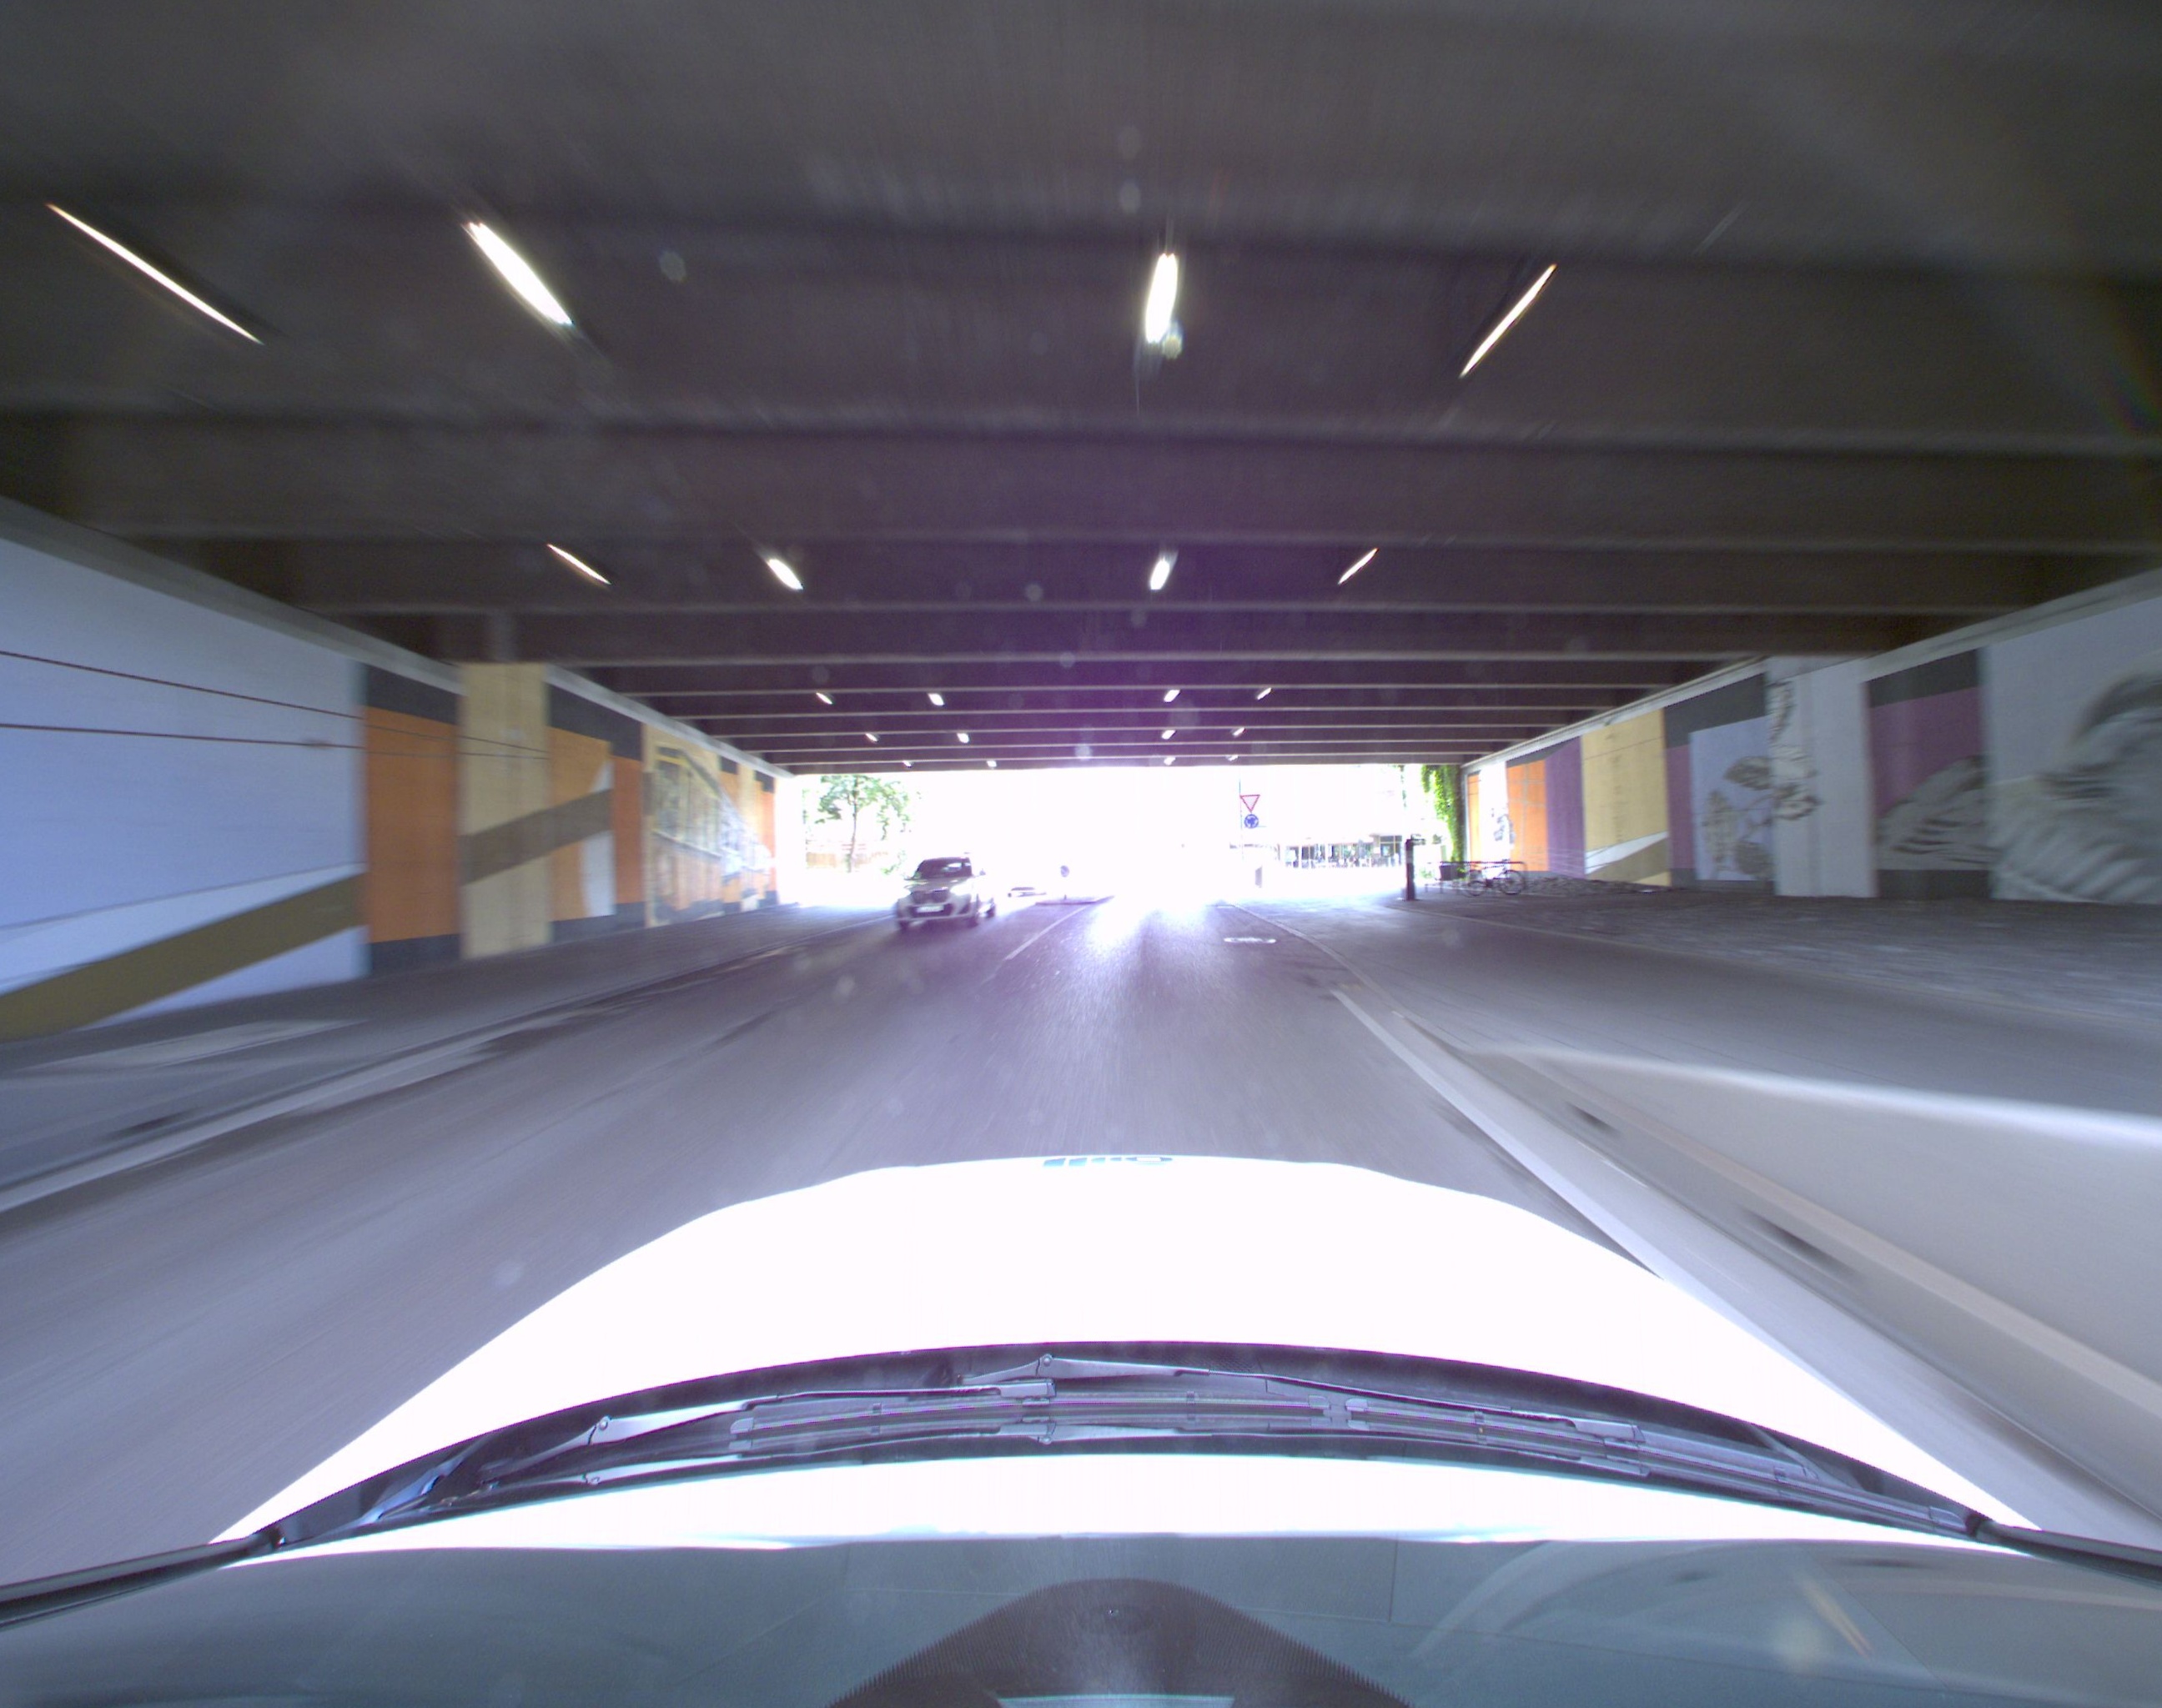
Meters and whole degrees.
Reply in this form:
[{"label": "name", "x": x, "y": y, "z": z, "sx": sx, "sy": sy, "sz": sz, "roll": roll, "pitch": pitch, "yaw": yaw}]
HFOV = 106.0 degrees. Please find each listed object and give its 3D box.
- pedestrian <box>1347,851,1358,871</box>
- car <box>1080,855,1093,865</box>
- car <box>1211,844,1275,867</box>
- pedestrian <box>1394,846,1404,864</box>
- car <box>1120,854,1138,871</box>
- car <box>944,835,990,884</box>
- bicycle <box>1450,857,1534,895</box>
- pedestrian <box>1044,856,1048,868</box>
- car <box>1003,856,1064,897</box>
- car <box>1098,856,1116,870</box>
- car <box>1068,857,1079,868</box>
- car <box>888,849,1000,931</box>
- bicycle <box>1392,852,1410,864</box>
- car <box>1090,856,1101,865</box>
[{"label": "pedestrian", "x": 23.188, "y": 0.586, "z": 69.547, "sx": 0.698, "sy": 1.674, "sz": 0.613, "roll": -1, "pitch": 0, "yaw": -21}, {"label": "car", "x": 0.717, "y": 0.833, "z": 111.921, "sx": 1.705, "sy": 1.354, "sz": 3.998, "roll": -1, "pitch": 0, "yaw": -1}, {"label": "car", "x": 13.012, "y": 0.135, "z": 65.517, "sx": 4.632, "sy": 1.688, "sz": 2.013, "roll": -2, "pitch": 0, "yaw": 37}, {"label": "pedestrian", "x": 29.578, "y": 0.067, "z": 75.759, "sx": 0.695, "sy": 1.674, "sz": 0.615, "roll": -1, "pitch": 0, "yaw": -9}, {"label": "car", "x": 5.500, "y": 0.973, "z": 93.691, "sx": 1.815, "sy": 1.731, "sz": 4.240, "roll": -3, "pitch": -1, "yaw": 6}, {"label": "car", "x": -6.413, "y": 0.279, "z": 46.400, "sx": 1.962, "sy": 2.607, "sz": 5.926, "roll": 0, "pitch": 0, "yaw": -2}, {"label": "bicycle", "x": 10.843, "y": 0.582, "z": 21.494, "sx": 1.940, "sy": 0.904, "sz": 0.506, "roll": -3, "pitch": -1, "yaw": -2}, {"label": "pedestrian", "x": -4.969, "y": 1.068, "z": 115.090, "sx": 0.549, "sy": 1.686, "sz": 0.516, "roll": -1, "pitch": 0, "yaw": -1}, {"label": "car", "x": -1.854, "y": 0.865, "z": 32.879, "sx": 1.662, "sy": 1.447, "sz": 3.861, "roll": -3, "pitch": 0, "yaw": 8}, {"label": "car", "x": 2.847, "y": 0.999, "z": 89.339, "sx": 1.817, "sy": 1.519, "sz": 4.234, "roll": -2, "pitch": -1, "yaw": 2}, {"label": "car", "x": -1.291, "y": 1.367, "z": 134.363, "sx": 1.705, "sy": 1.712, "sz": 3.998, "roll": -1, "pitch": 0, "yaw": -1}, {"label": "car", "x": -3.139, "y": 0.776, "z": 19.517, "sx": 1.819, "sy": 1.654, "sz": 4.215, "roll": -3, "pitch": 0, "yaw": 1}, {"label": "bicycle", "x": 29.667, "y": 0.367, "z": 75.549, "sx": 1.523, "sy": 1.168, "sz": 0.499, "roll": -1, "pitch": -2, "yaw": 35}, {"label": "car", "x": 2.406, "y": 1.043, "z": 134.013, "sx": 1.705, "sy": 1.354, "sz": 3.998, "roll": -1, "pitch": 0, "yaw": -1}]
